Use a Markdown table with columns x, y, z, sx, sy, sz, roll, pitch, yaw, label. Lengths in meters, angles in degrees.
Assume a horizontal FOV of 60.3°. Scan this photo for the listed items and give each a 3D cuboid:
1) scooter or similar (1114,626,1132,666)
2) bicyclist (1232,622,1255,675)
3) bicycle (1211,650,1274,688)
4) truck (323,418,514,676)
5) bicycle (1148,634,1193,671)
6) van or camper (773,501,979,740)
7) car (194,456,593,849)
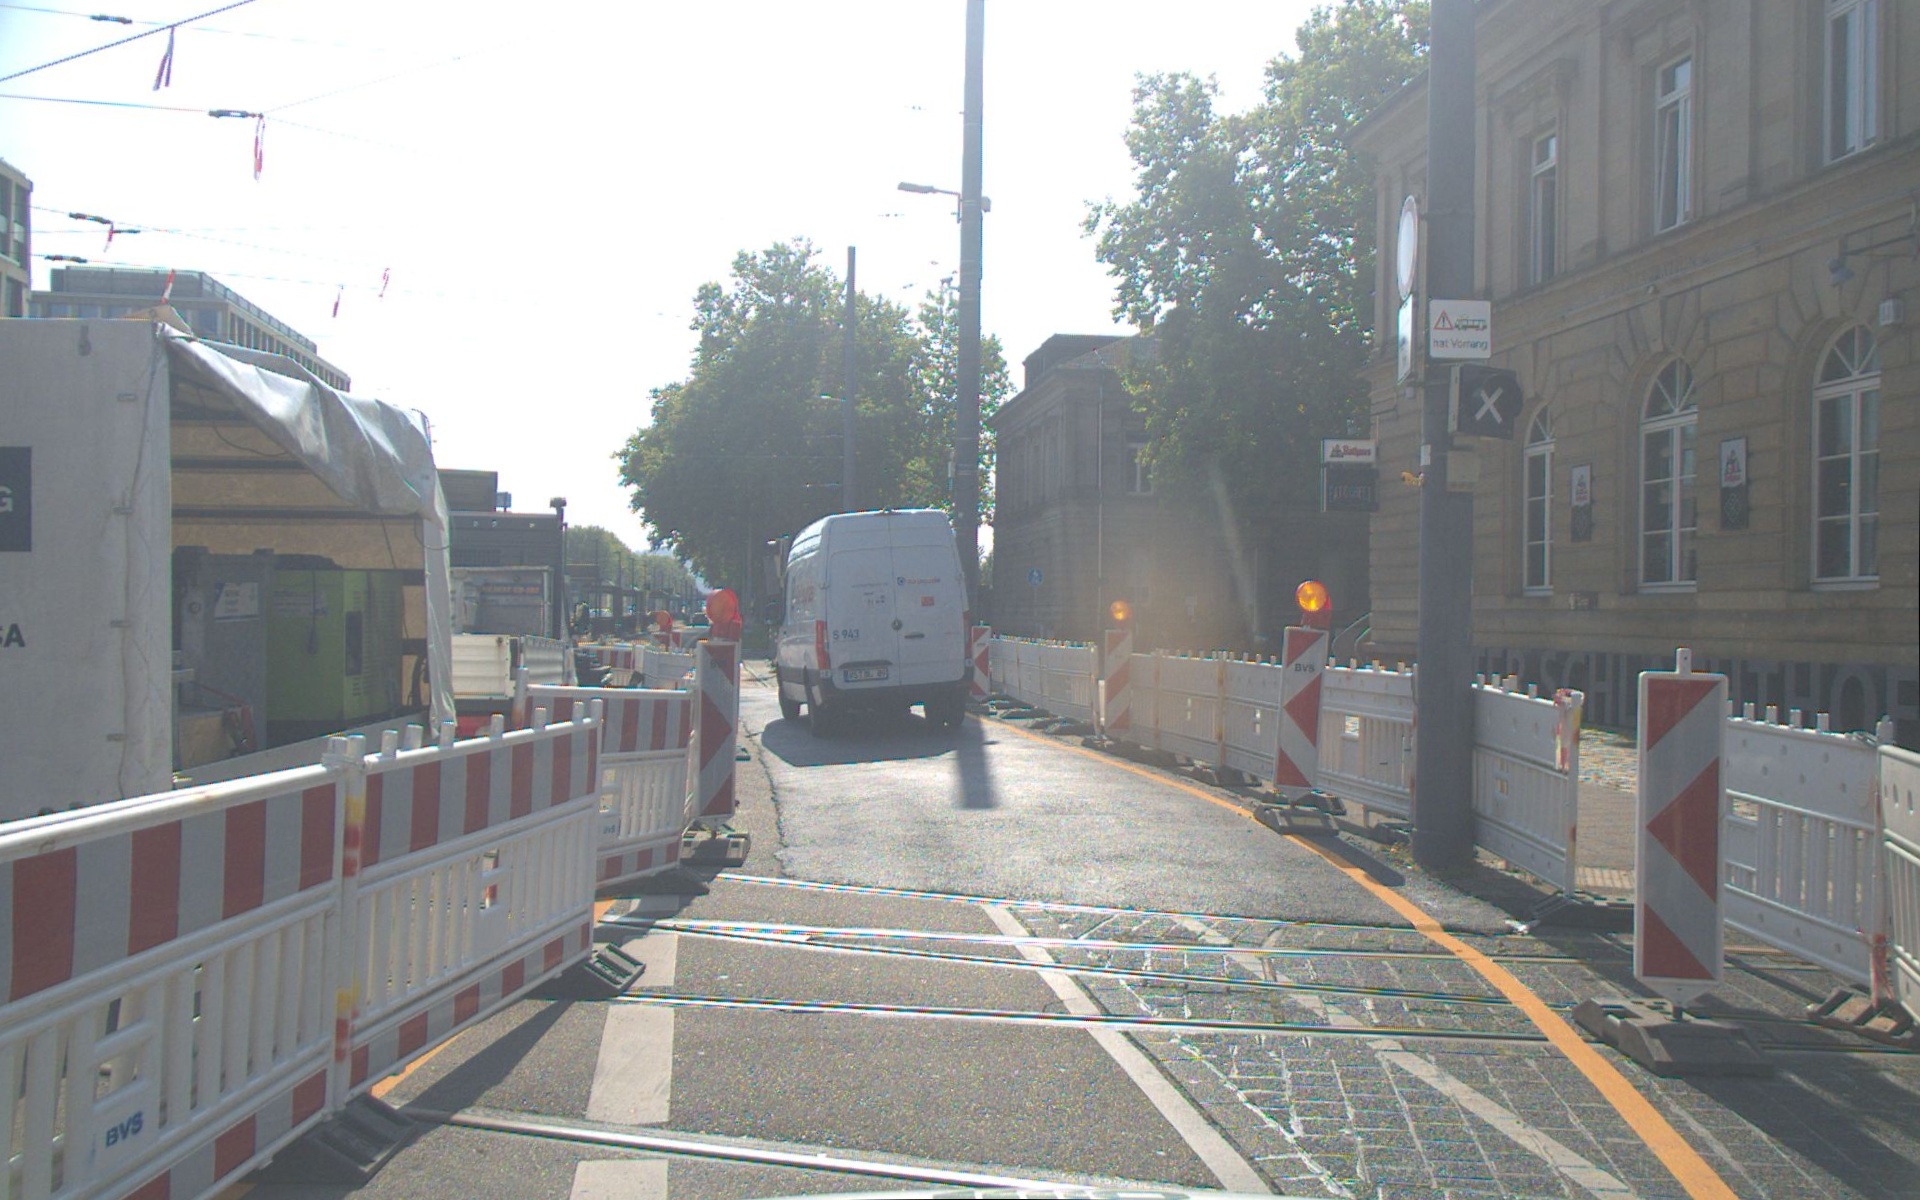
| x | y | z | sx | sy | sz | roll | pitch | yaw | label |
| --- | --- | --- | --- | --- | --- | --- | --- | --- | --- |
| 5.161 | 1.461 | 52.465 | 0.417 | 1.250 | 1.173 | 0 | 0 | -1 | scooter or similar |
| 8.517 | 1.447 | 49.680 | 0.582 | 1.566 | 0.470 | 0 | -1 | -2 | bicyclist |
| 8.479 | 2.075 | 49.676 | 1.814 | 1.108 | 0.492 | 0 | 0 | -2 | bicycle |
| -10.019 | -0.834 | 30.284 | 2.751 | 3.981 | 8.369 | 2 | 0 | -20 | truck |
| 6.588 | 1.633 | 51.834 | 0.485 | 1.017 | 1.802 | 1 | 2 | -27 | bicycle |
| -1.262 | 0.226 | 21.883 | 2.077 | 2.729 | 5.238 | -2 | 0 | -10 | van or camper |
| -4.391 | 0.378 | 14.137 | 2.167 | 2.467 | 7.180 | 0 | -1 | -11 | car |
